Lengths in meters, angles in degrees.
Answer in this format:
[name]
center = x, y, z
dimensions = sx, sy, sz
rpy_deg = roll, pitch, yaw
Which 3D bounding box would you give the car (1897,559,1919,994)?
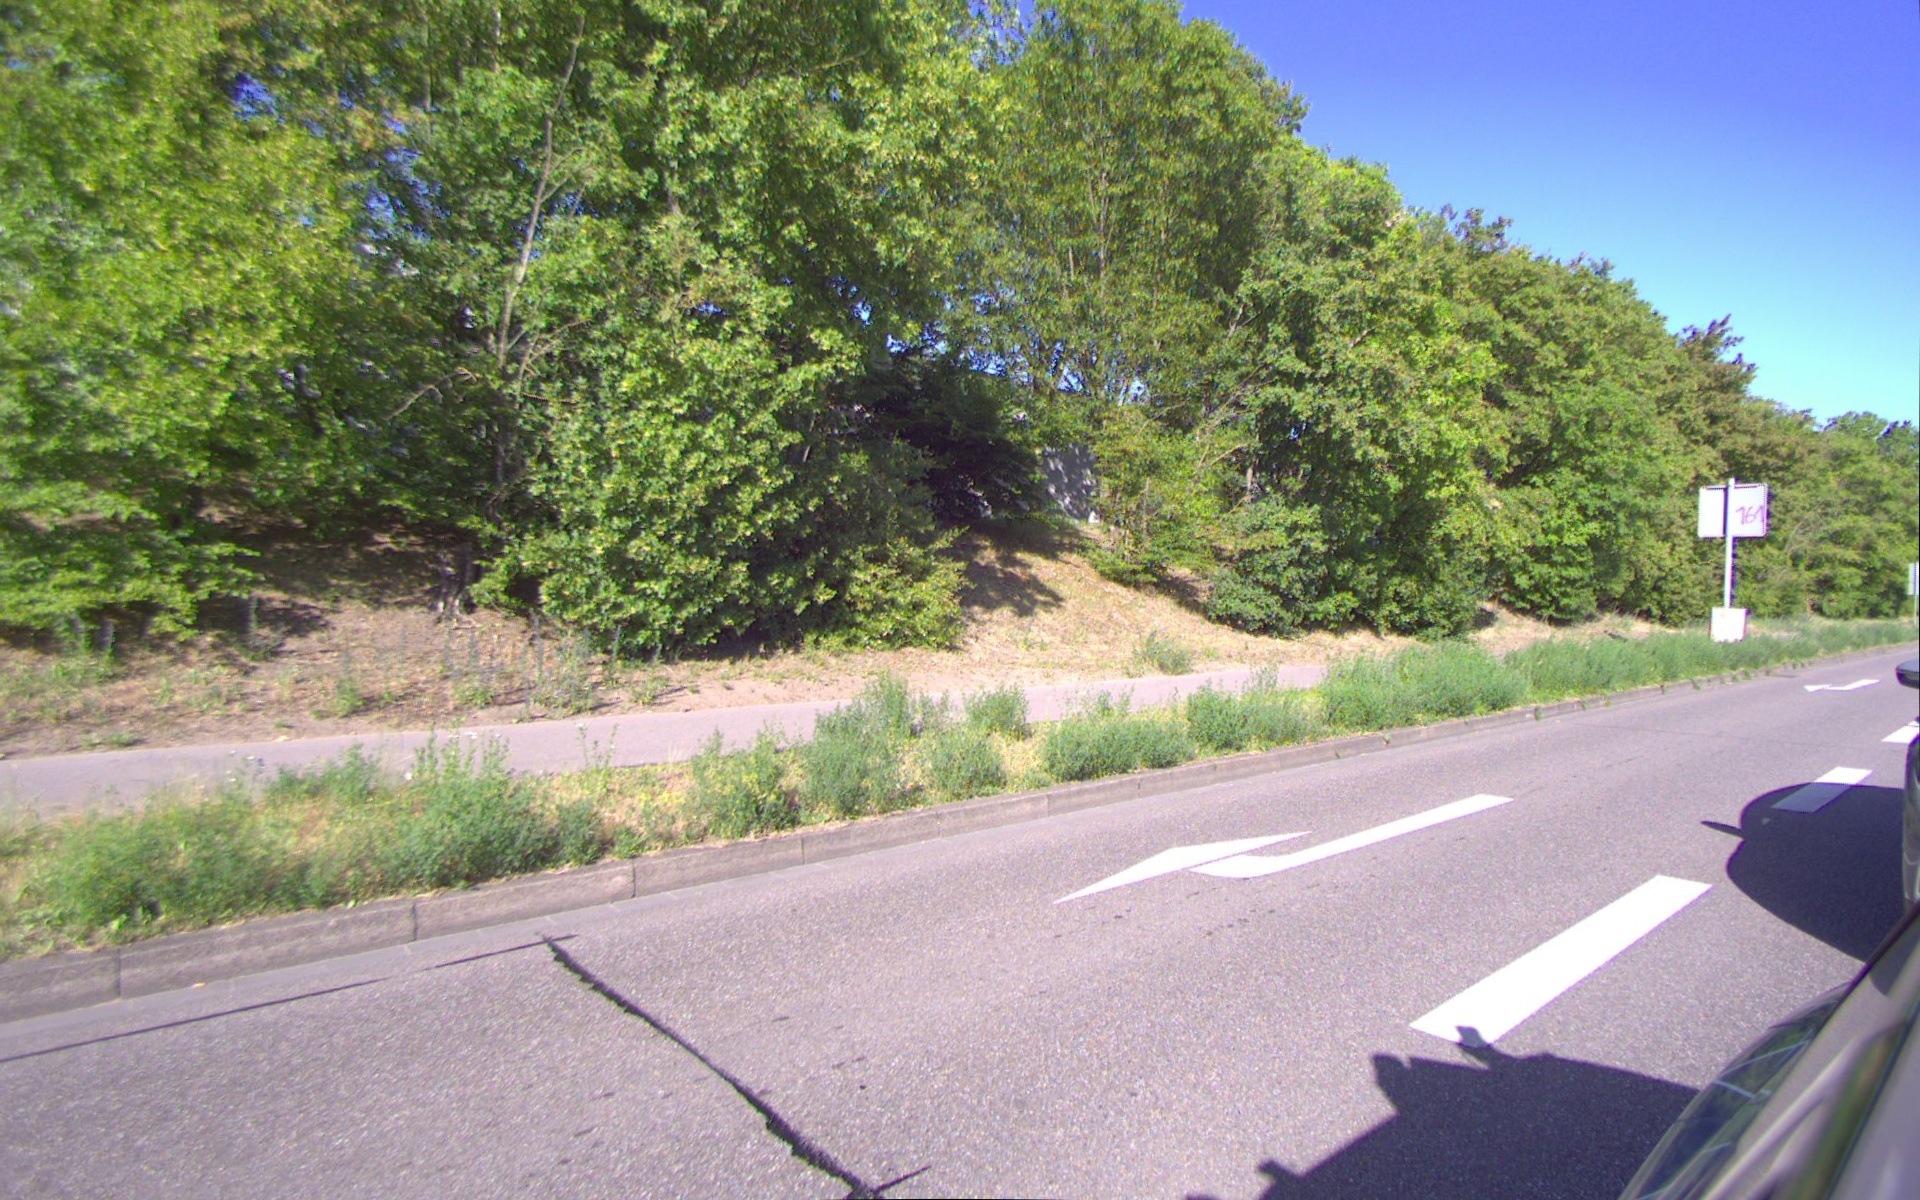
[car]
center = 5.726, 0.654, 4.531
dimensions = 4.327, 1.603, 1.860
rpy_deg = 0, 0, -42
